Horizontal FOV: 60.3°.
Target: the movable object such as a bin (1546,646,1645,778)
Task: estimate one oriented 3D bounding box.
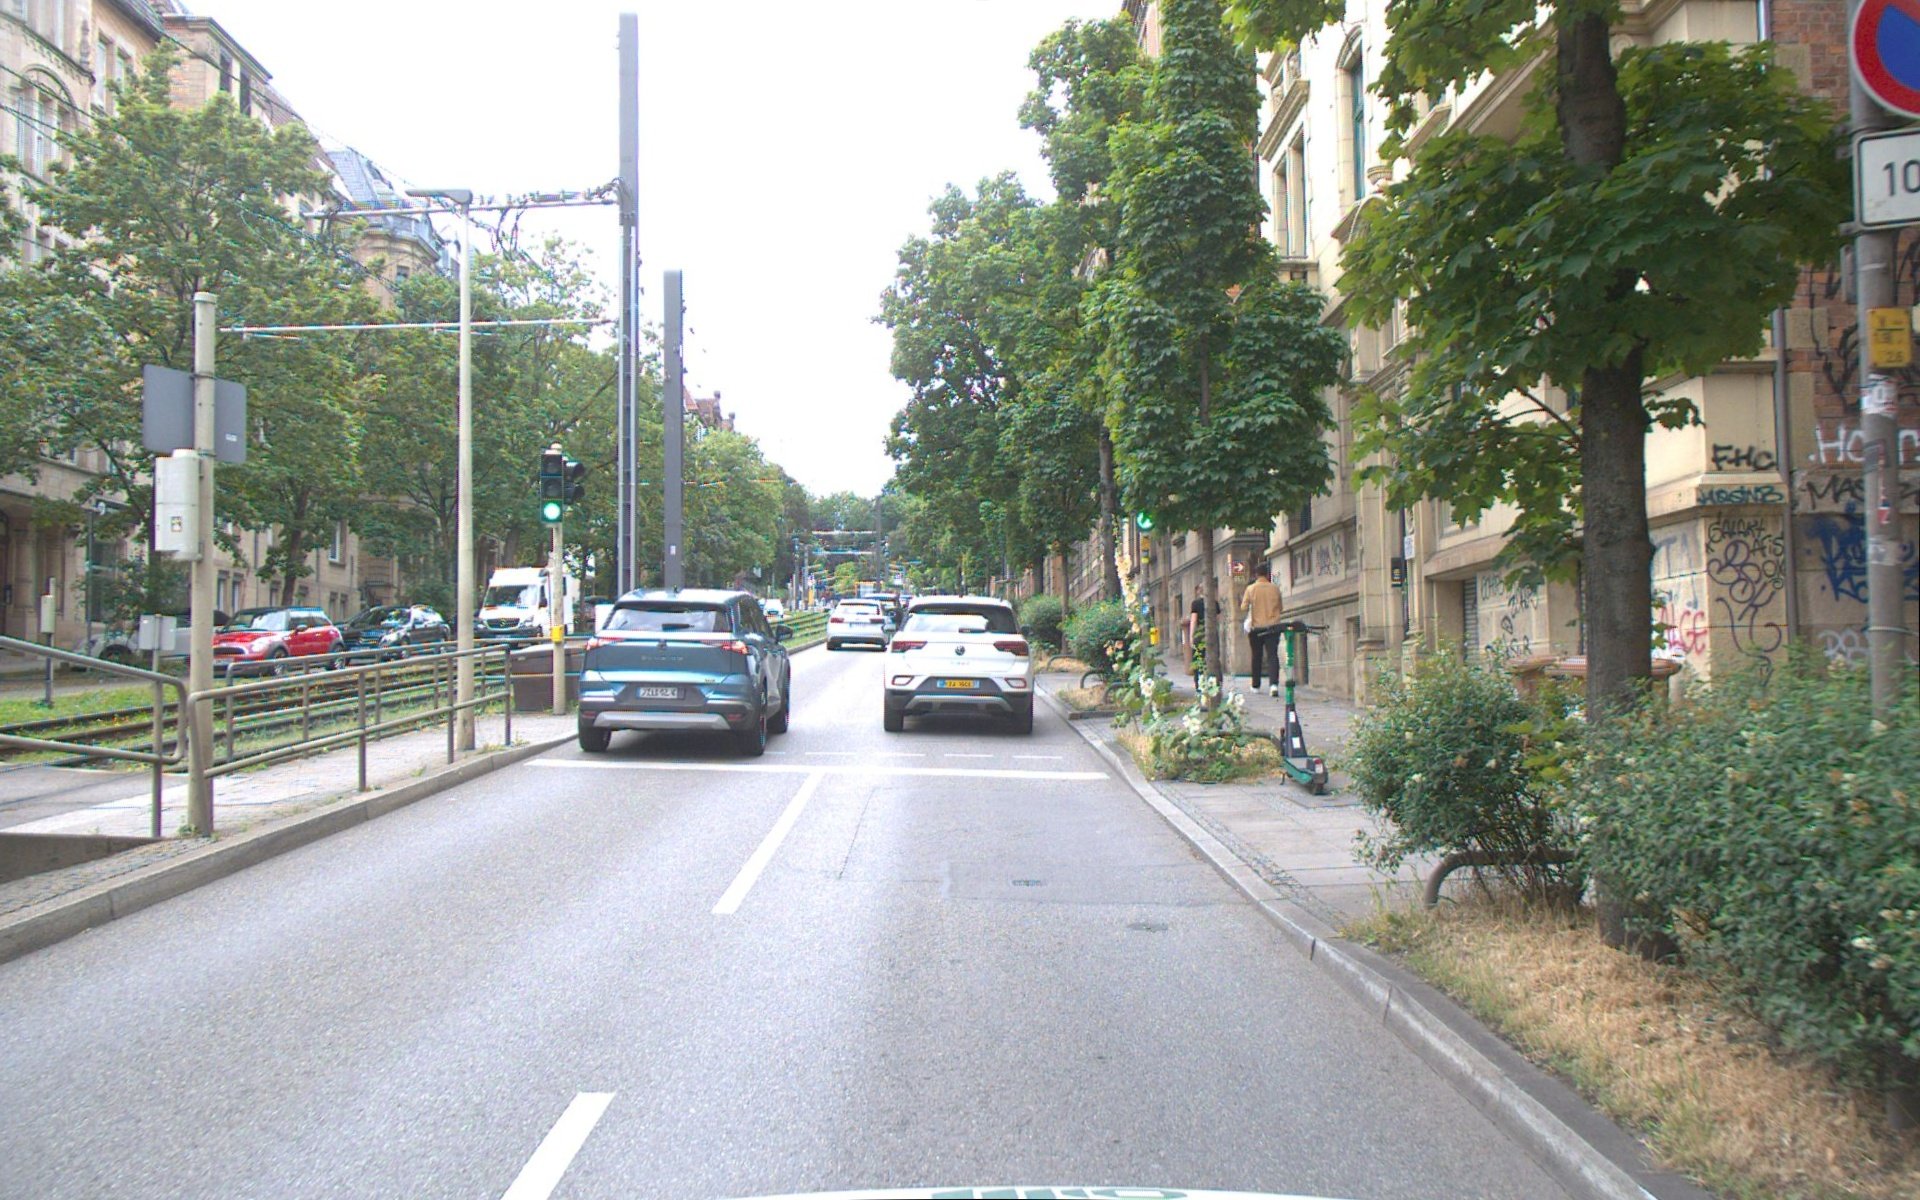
[{"bbox_3d":[4.758,0.831,12.395,0.497,0.935,0.485,-2,-1,-42],"label":"movable object such as a bin"}]

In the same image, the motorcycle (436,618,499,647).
[{"bbox_3d":[-18.510,1.230,62.219,2.180,1.077,0.617,1,-2,-36],"label":"motorcycle"}]

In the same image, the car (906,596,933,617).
[{"bbox_3d":[-3.198,0.514,130.331,2.026,1.574,4.191,1,-1,-2],"label":"car"}]

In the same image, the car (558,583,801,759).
[{"bbox_3d":[-2.747,0.664,17.107,1.798,1.574,4.193,1,-1,0],"label":"car"}]

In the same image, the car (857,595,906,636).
[{"bbox_3d":[-3.141,0.638,66.838,1.798,1.574,4.193,1,-1,0],"label":"car"}]

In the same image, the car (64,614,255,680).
[{"bbox_3d":[-19.035,1.091,39.383,3.949,1.447,1.766,0,-1,-33],"label":"car"}]

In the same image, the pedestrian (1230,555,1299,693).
[{"bbox_3d":[4.240,0.334,23.086,0.672,1.861,1.121,-2,-1,-1],"label":"pedestrian"}]

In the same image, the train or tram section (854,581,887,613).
[{"bbox_3d":[-10.118,-0.241,187.991,2.934,3.407,13.438,-1,-1,0],"label":"train or tram section"}]

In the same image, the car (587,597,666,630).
[{"bbox_3d":[-19.312,0.774,95.805,4.130,1.868,1.855,-1,-1,-28],"label":"car"}]

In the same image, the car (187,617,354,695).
[{"bbox_3d":[-13.531,1.067,32.673,1.543,1.401,3.657,-1,0,4],"label":"car"}]

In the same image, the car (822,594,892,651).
[{"bbox_3d":[-3.003,0.663,48.979,1.798,1.574,4.193,1,-1,0],"label":"car"}]

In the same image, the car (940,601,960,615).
[{"bbox_3d":[-1.199,0.916,195.589,2.027,1.574,4.189,1,-1,-4],"label":"car"}]

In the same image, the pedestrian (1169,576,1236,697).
[{"bbox_3d":[3.352,0.493,22.910,0.672,1.601,1.216,-2,0,-1],"label":"pedestrian"}]

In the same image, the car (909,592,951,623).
[{"bbox_3d":[-1.624,0.392,88.096,2.027,1.574,4.190,1,-1,-3],"label":"car"}]

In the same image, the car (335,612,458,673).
[{"bbox_3d":[-14.848,1.084,43.843,1.713,1.453,4.747,-2,0,-1],"label":"car"}]

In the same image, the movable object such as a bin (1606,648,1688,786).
[{"bbox_3d":[4.868,0.821,11.742,0.489,0.935,0.444,-1,0,19],"label":"movable object such as a bin"}]

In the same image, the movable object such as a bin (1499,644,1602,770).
[{"bbox_3d":[4.629,0.829,12.983,0.599,0.935,0.493,-3,-1,2],"label":"movable object such as a bin"}]

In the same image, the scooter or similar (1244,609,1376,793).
[{"bbox_3d":[2.694,0.751,12.865,0.648,1.327,1.383,-3,-1,-1],"label":"scooter or similar"}]

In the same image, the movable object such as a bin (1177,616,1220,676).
[{"bbox_3d":[4.360,0.845,30.266,0.657,1.033,0.582,-3,2,-3],"label":"movable object such as a bin"}]

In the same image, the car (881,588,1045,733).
[{"bbox_3d":[-0.020,0.692,20.425,1.798,1.574,4.192,1,-1,-2],"label":"car"}]

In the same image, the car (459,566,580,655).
[{"bbox_3d":[-14.962,0.356,56.666,2.343,2.746,6.517,-2,0,-1],"label":"car"}]

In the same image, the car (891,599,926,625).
[{"bbox_3d":[-3.244,0.752,102.981,2.027,1.574,4.190,1,-1,-4],"label":"car"}]
